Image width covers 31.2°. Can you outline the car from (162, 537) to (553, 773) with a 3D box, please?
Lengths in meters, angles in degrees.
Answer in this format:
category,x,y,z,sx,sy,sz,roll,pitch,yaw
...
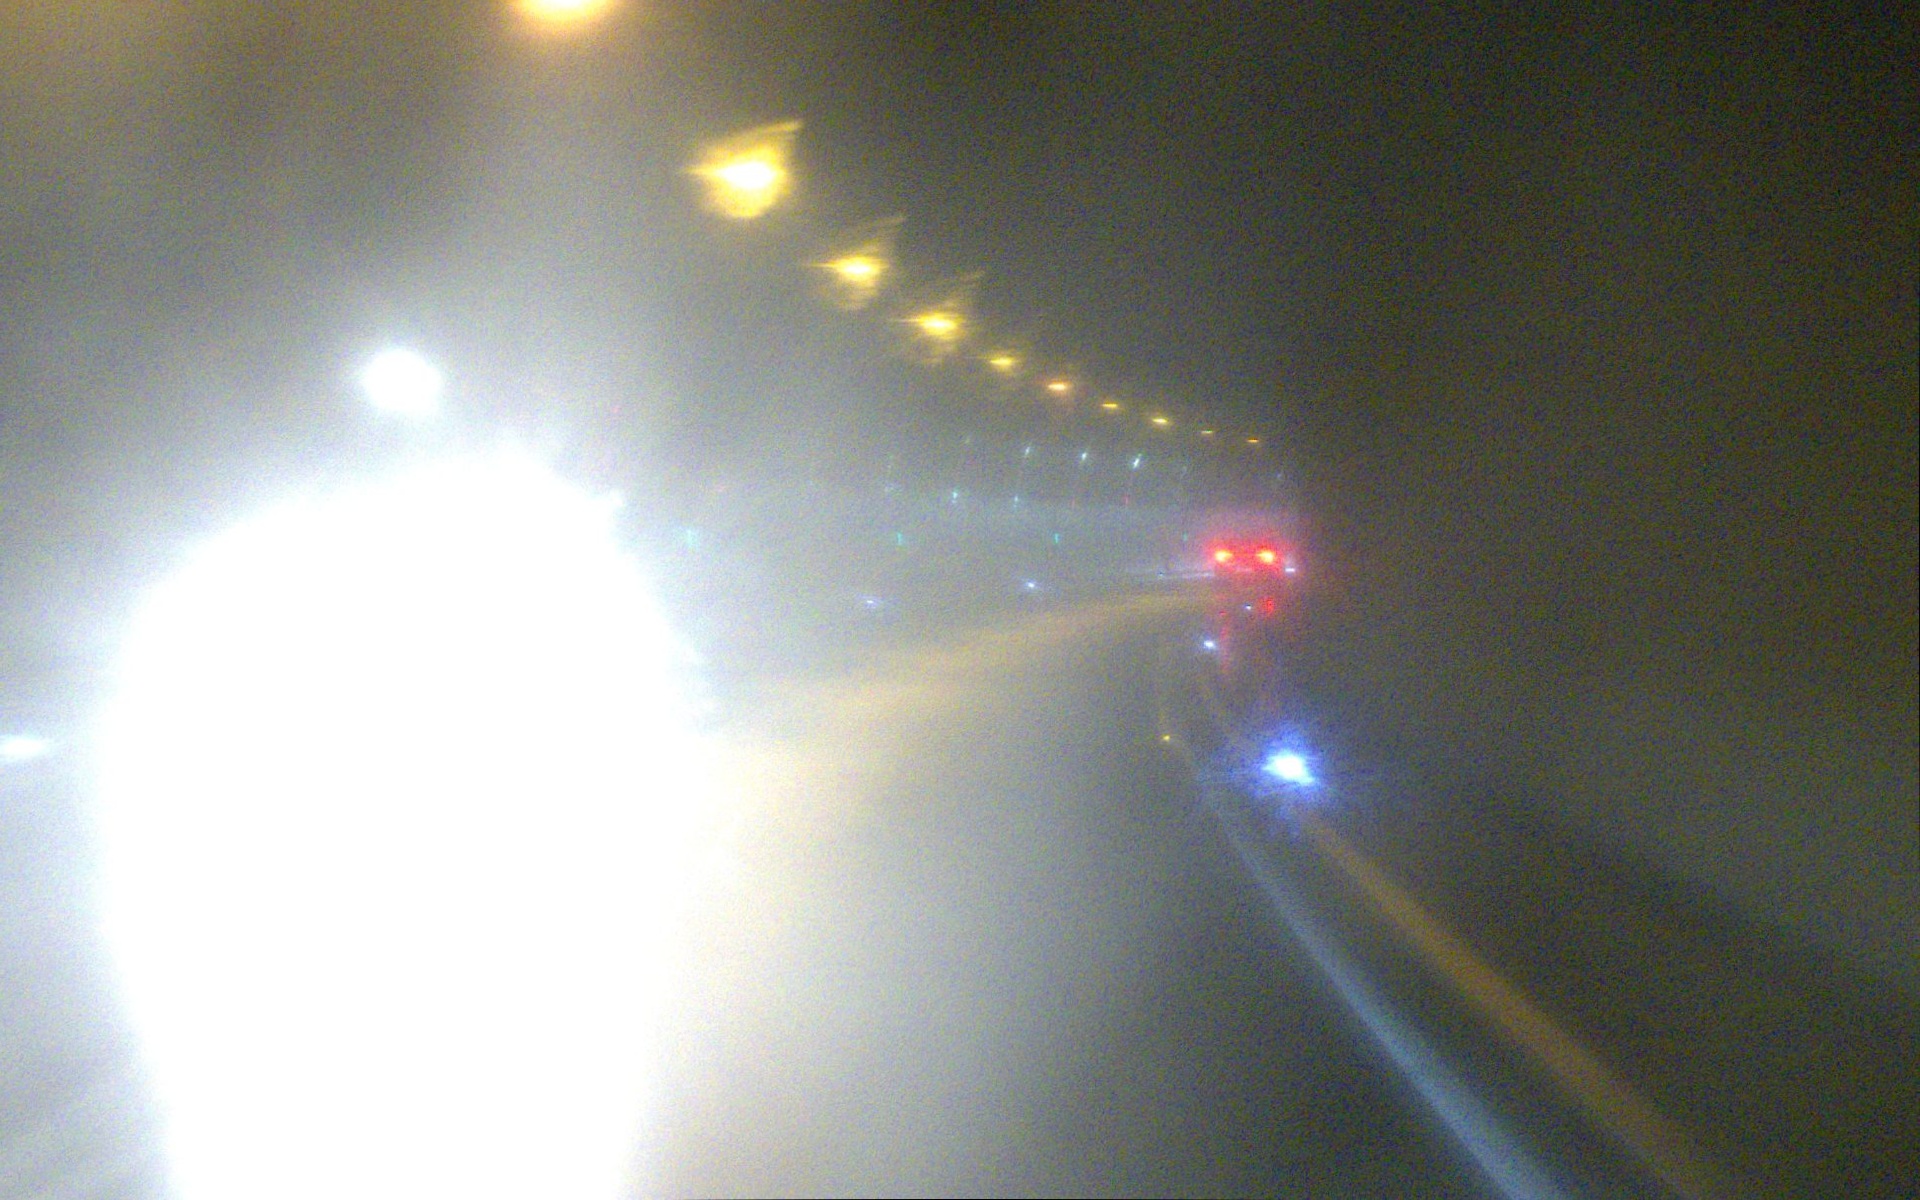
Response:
category,x,y,z,sx,sy,sz,roll,pitch,yaw
car,-3.941,0.295,23.216,1.713,1.373,4.585,2,1,1

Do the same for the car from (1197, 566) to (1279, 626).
category,x,y,z,sx,sy,sz,roll,pitch,yaw
car,8.149,-0.129,100.474,1.994,1.645,3.998,1,1,10
